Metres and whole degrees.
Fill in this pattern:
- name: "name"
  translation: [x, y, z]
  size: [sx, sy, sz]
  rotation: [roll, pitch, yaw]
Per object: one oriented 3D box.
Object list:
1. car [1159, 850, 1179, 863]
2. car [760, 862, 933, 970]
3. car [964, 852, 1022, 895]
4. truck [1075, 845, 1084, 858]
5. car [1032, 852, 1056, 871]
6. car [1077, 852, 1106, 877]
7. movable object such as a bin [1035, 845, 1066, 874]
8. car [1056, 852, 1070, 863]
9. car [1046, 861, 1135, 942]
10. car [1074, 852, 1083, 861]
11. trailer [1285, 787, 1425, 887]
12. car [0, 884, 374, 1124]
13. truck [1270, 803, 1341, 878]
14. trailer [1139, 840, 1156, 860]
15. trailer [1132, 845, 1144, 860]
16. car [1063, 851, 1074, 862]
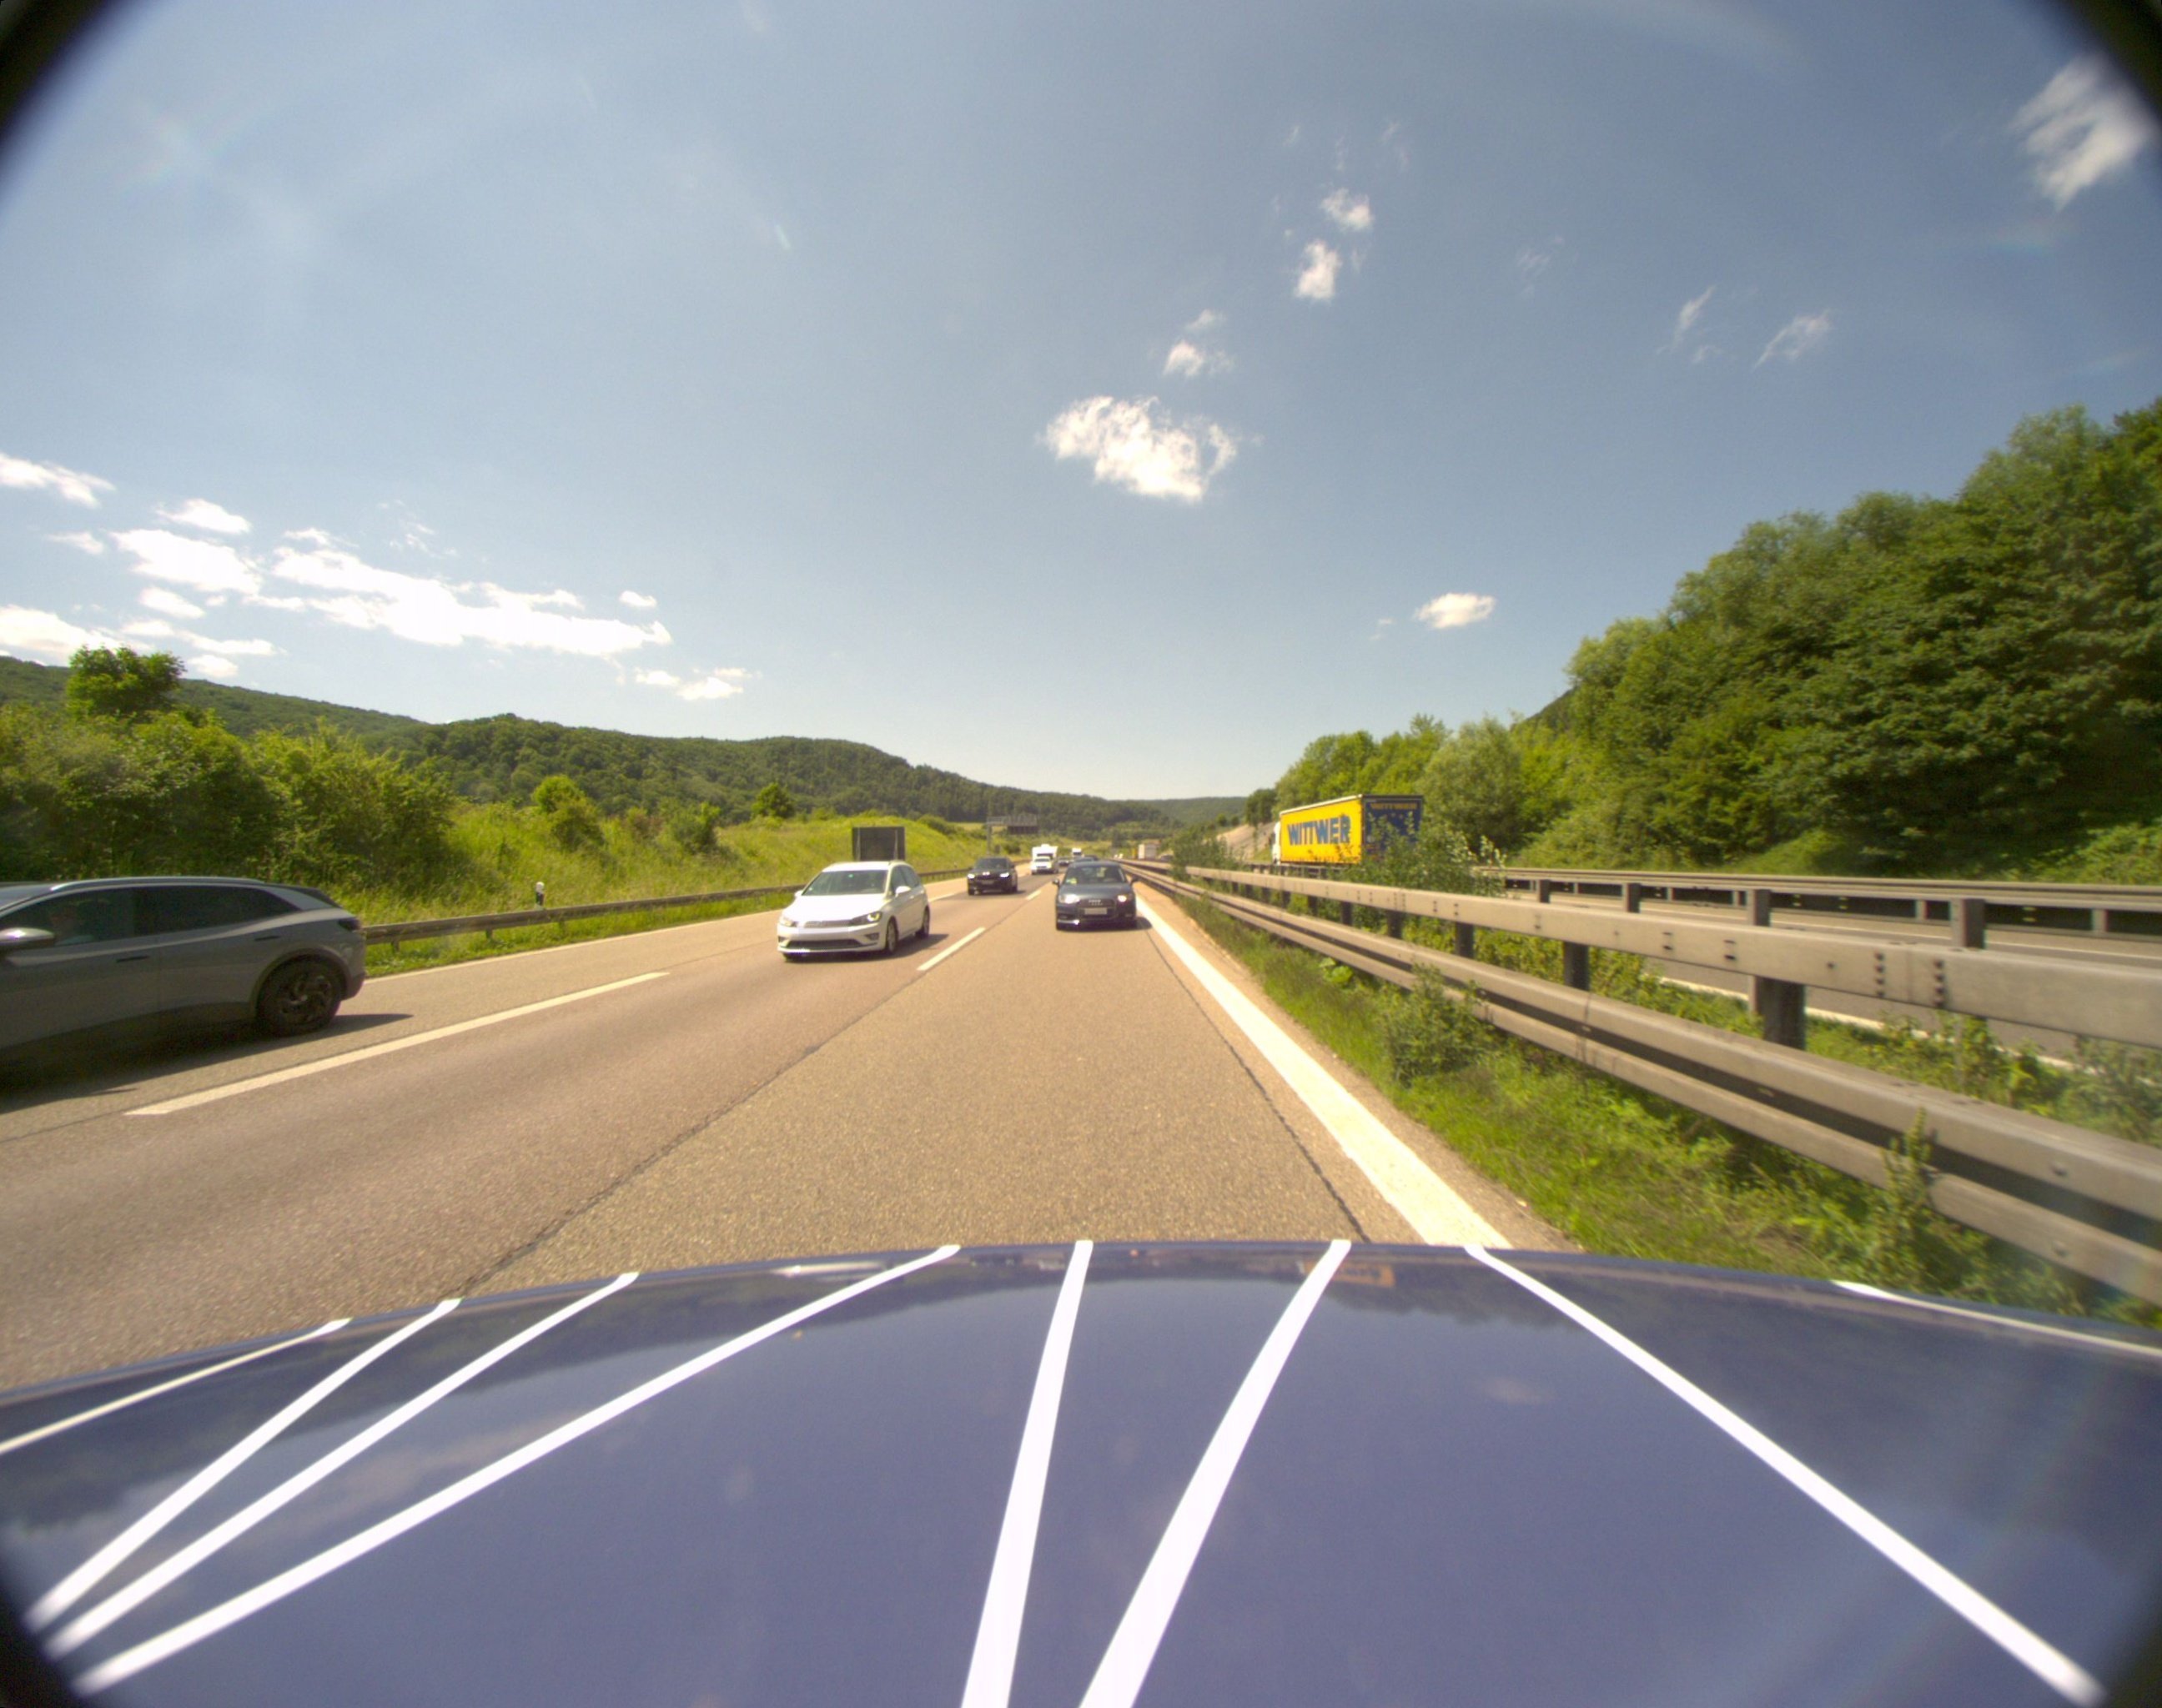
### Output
- name: "car"
  translation: [9.956, 0.243, 86.526]
  size: [1.874, 1.412, 4.433]
  rotation: [0, 0, 2]
- name: "car"
  translation: [-3.945, 0.963, 13.558]
  size: [1.777, 1.532, 4.054]
  rotation: [-2, 0, 0]
- name: "car"
  translation: [-3.802, 0.802, 33.589]
  size: [1.893, 1.761, 4.172]
  rotation: [-1, 0, 2]
- name: "truck"
  translation: [-0.318, -0.703, 219.011]
  size: [2.336, 3.623, 7.006]
  rotation: [-2, 0, 1]
- name: "car"
  translation: [-3.295, 0.634, 68.270]
  size: [1.821, 1.574, 4.000]
  rotation: [-1, 0, 1]
- name: "car"
  translation: [0.763, 0.683, 51.915]
  size: [1.835, 1.586, 4.000]
  rotation: [-1, 0, 2]
- name: "movable object such as a bin"
  translation: [-2.981, 0.501, 75.359]
  size: [2.481, 2.616, 6.709]
  rotation: [-2, 0, 2]
- name: "car"
  translation: [-2.585, 0.542, 110.576]
  size: [1.711, 1.542, 4.000]
  rotation: [-1, 0, 1]
- name: "car"
  translation: [0.322, 0.898, 16.029]
  size: [1.591, 1.402, 4.001]
  rotation: [-2, 0, 4]
- name: "car"
  translation: [-0.587, 0.623, 172.391]
  size: [1.998, 2.002, 4.000]
  rotation: [-2, 1, 1]
- name: "trailer"
  translation: [12.866, -0.718, 37.296]
  size: [2.587, 3.982, 12.601]
  rotation: [-2, 0, 2]
- name: "car"
  translation: [-8.542, 1.153, 6.059]
  size: [1.683, 1.585, 4.249]
  rotation: [-2, 0, 2]
- name: "truck"
  translation: [13.068, -0.730, 44.690]
  size: [2.554, 4.067, 5.850]
  rotation: [-1, 0, 2]
- name: "trailer"
  translation: [14.375, -0.904, 164.378]
  size: [2.863, 4.052, 11.262]
  rotation: [0, 0, 1]
- name: "trailer"
  translation: [16.280, -0.347, 217.520]
  size: [2.834, 4.123, 10.405]
  rotation: [-2, 0, 1]
- name: "car"
  translation: [-2.301, 0.495, 143.684]
  size: [1.999, 2.002, 3.999]
  rotation: [-1, 0, -1]
